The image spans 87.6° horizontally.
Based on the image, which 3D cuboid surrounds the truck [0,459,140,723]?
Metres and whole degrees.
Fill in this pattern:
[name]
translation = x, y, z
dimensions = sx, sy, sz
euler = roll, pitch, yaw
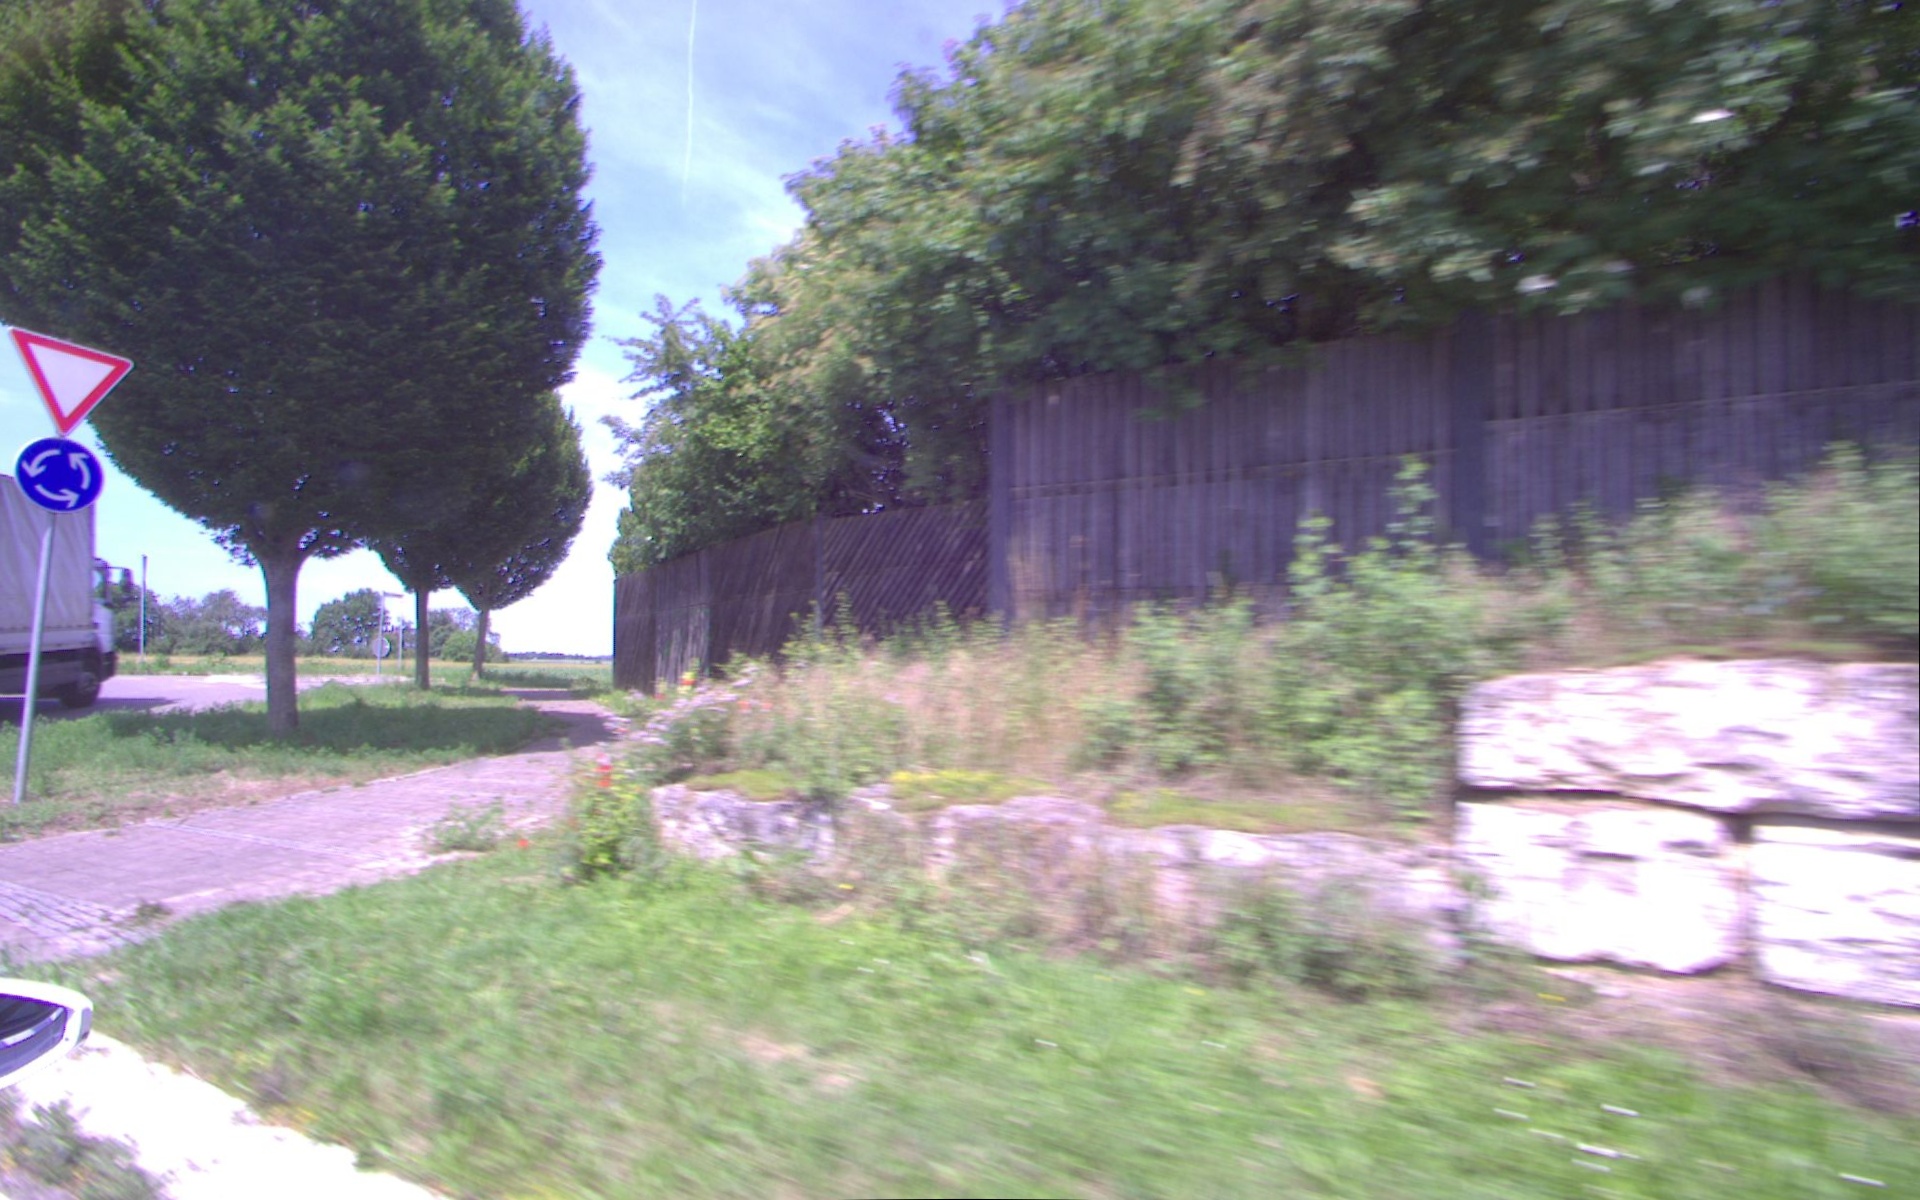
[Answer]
[truck]
translation = -15.159, -0.142, 14.371
dimensions = 2.732, 3.718, 9.351
euler = 1, -1, -24
